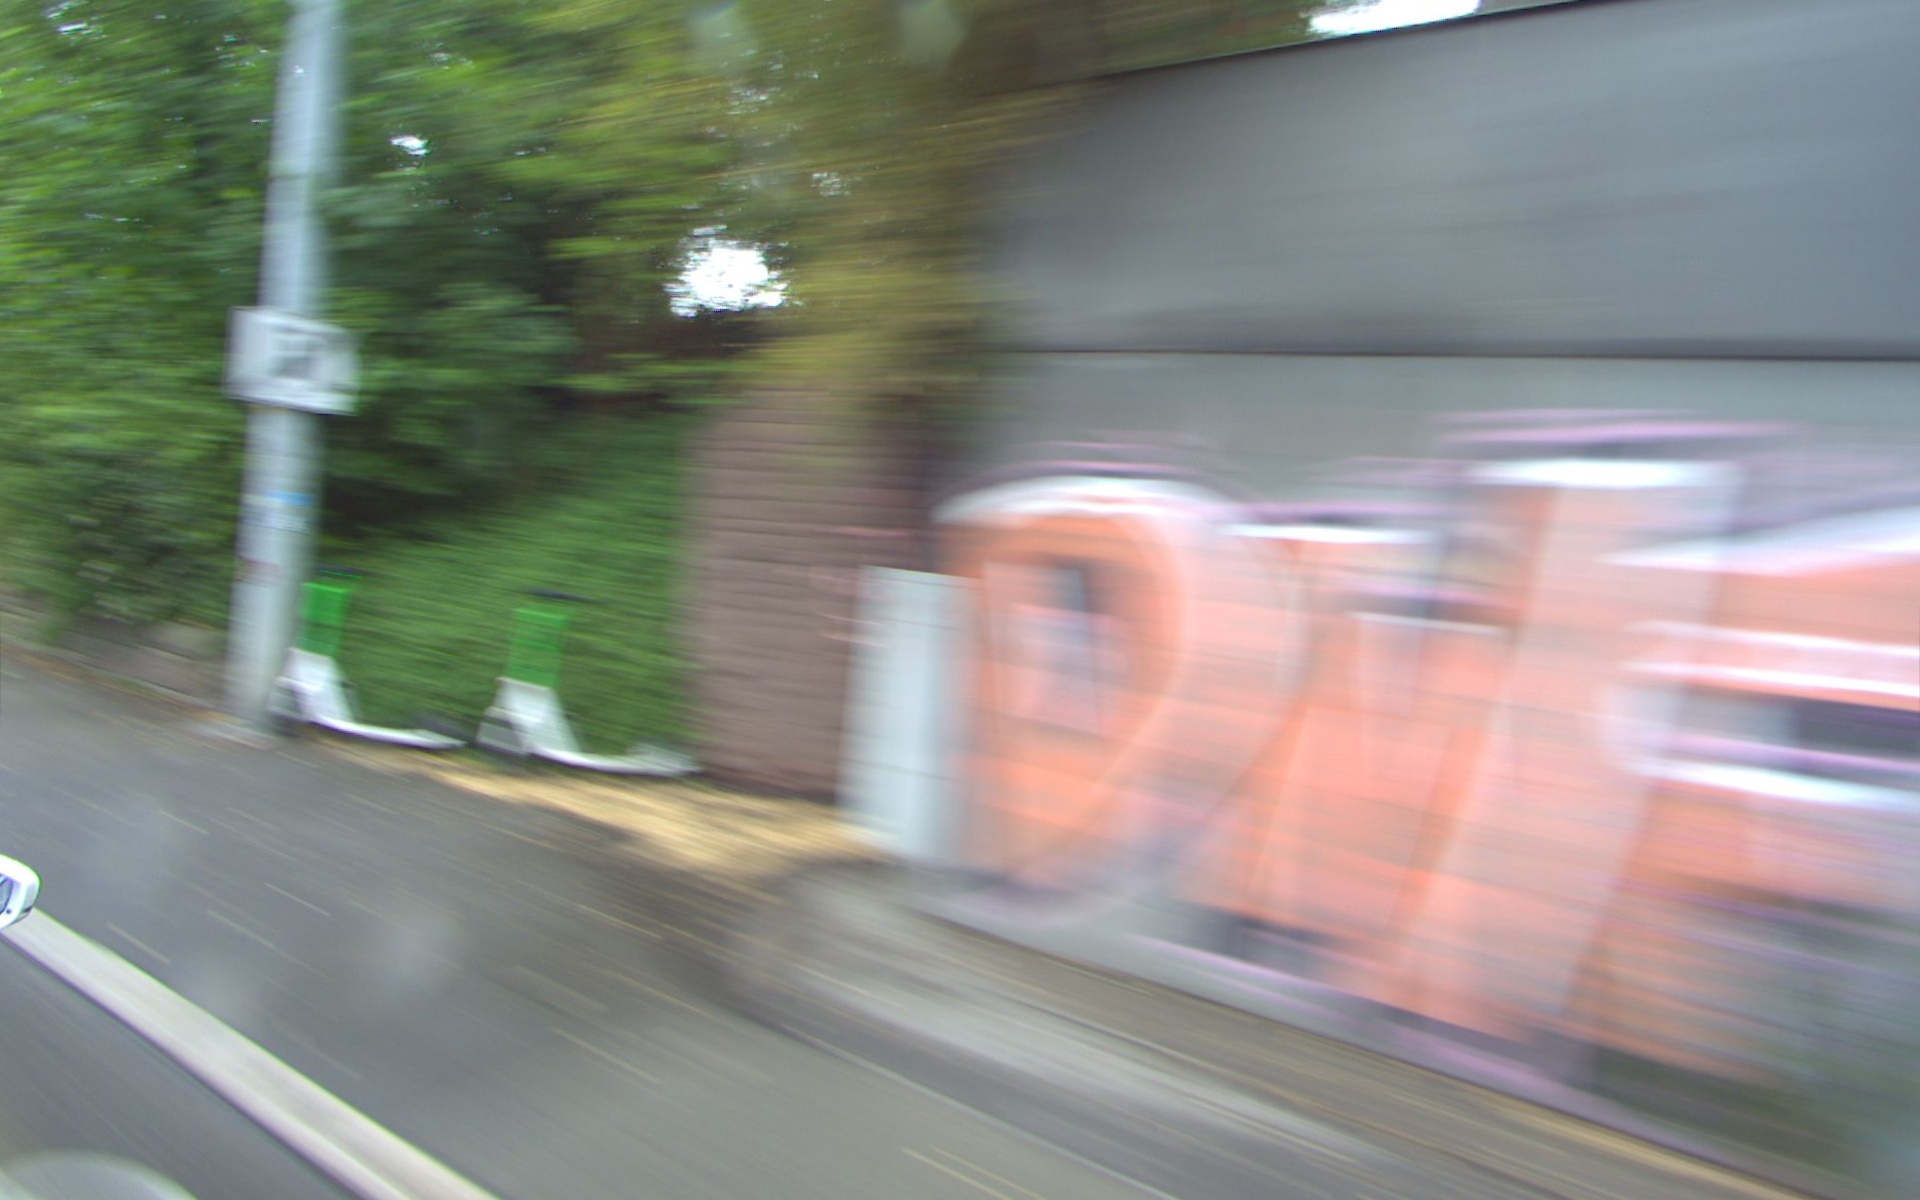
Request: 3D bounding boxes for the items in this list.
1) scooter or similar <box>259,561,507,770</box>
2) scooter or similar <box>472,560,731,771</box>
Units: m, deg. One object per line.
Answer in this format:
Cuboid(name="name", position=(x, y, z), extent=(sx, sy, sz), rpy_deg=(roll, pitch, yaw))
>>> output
Cuboid(name="scooter or similar", position=(-3.693, 0.400, 6.449), extent=(1.395, 1.132, 0.347), rpy_deg=(7, 3, 8))
Cuboid(name="scooter or similar", position=(-2.228, 0.400, 6.298), extent=(1.395, 1.130, 0.347), rpy_deg=(6, -1, 3))
